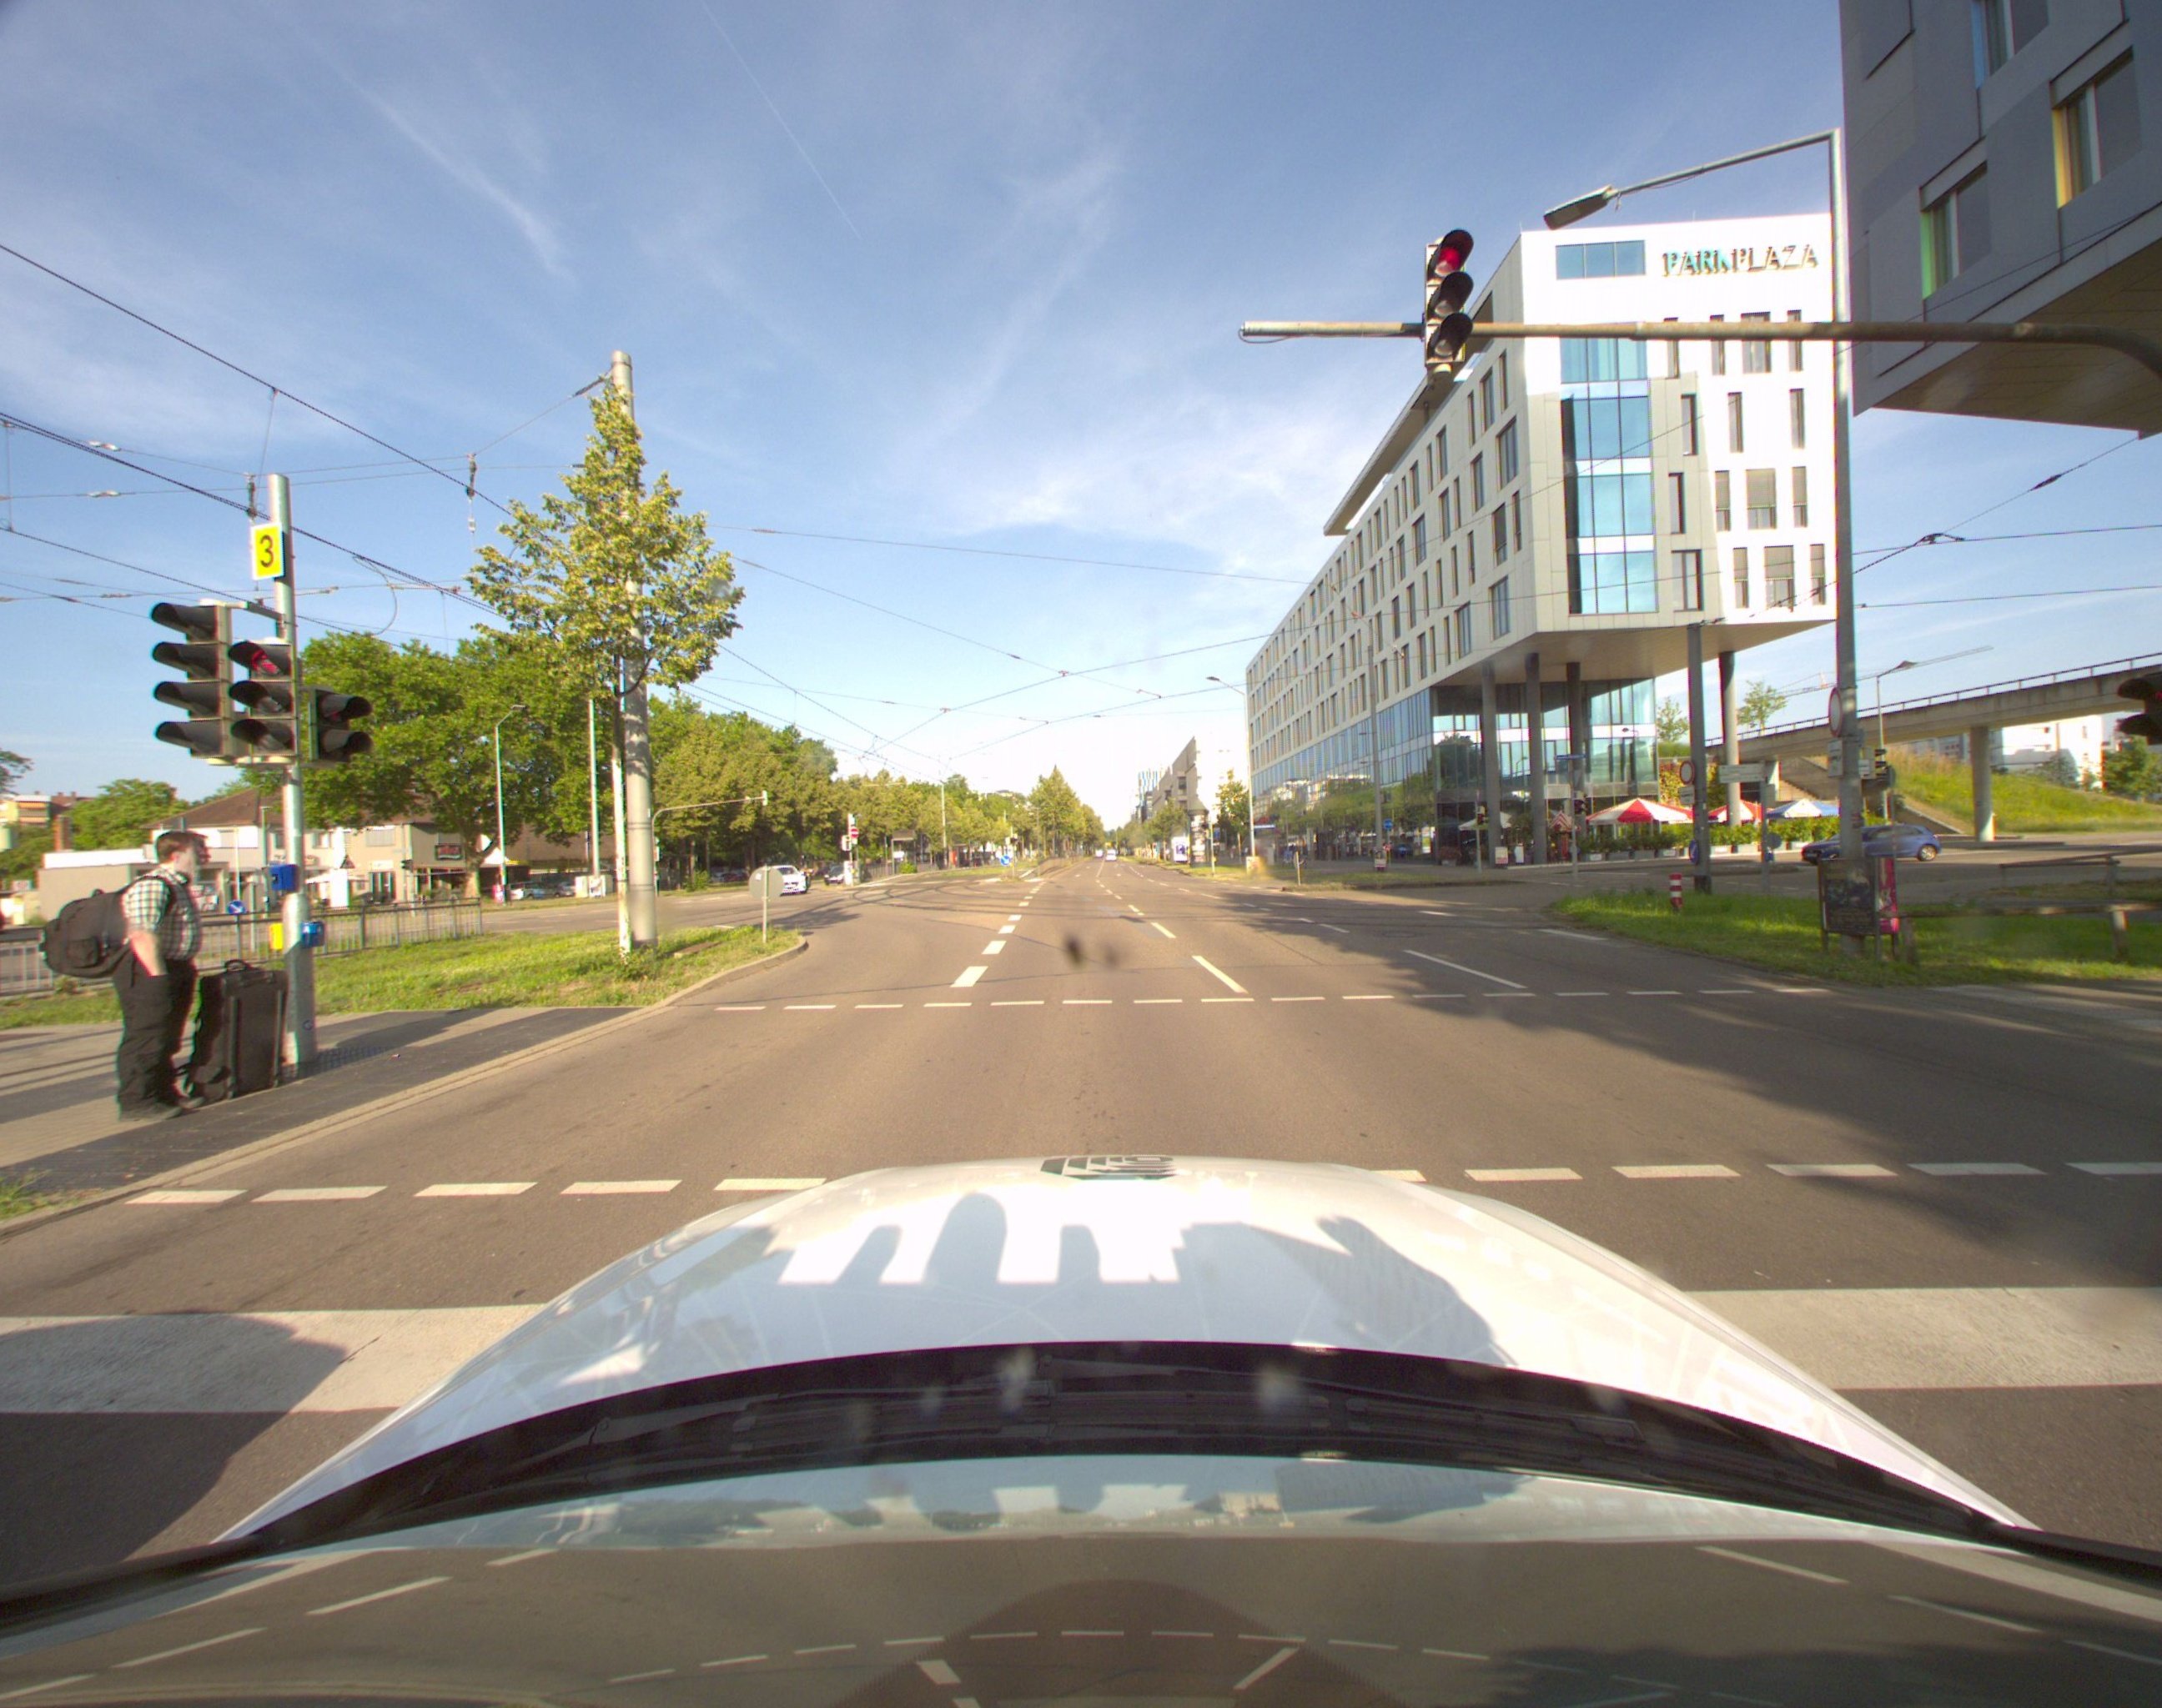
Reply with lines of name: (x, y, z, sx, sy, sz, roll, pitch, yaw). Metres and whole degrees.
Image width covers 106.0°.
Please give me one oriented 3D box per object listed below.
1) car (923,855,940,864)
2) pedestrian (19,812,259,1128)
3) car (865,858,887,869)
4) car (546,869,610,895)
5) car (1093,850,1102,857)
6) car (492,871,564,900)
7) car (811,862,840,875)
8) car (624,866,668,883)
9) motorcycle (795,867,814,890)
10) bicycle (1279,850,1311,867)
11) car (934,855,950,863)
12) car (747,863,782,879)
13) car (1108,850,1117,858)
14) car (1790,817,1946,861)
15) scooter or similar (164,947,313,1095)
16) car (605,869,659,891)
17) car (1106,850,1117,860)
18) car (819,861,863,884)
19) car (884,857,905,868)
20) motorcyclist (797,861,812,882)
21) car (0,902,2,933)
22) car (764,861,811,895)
car: (-27.553, 1.052, 150.403, 1.871, 1.559, 4.008, -3, 0, 7)
pedestrian: (-5.691, 0.659, 4.958, 0.697, 1.792, 0.636, -1, 0, 2)
car: (-30.677, 1.447, 122.111, 1.871, 1.559, 4.008, -3, 0, 7)
car: (-37.719, 2.097, 61.200, 1.871, 1.750, 4.008, -3, 0, 7)
car: (4.193, -0.142, 207.564, 2.007, 1.684, 4.003, 0, 1, 2)
car: (-38.237, 2.158, 56.449, 1.871, 1.750, 4.008, -3, 0, 7)
car: (-32.779, 1.842, 104.587, 1.871, 1.559, 4.008, -3, 0, 7)
car: (-43.790, 2.026, 82.159, 1.871, 1.559, 4.008, -3, 0, 7)
motorcycle: (-16.368, 1.457, 48.267, 0.820, 1.263, 2.536, -1, 0, -15)
bicycle: (13.862, 0.256, 52.804, 0.778, 1.032, 1.856, -2, 2, -42)
car: (-26.802, 0.969, 156.814, 1.871, 1.559, 4.008, -3, 0, 7)
car: (-34.755, 1.827, 89.598, 1.871, 1.559, 4.008, -3, 0, 7)
car: (6.652, -0.076, 172.473, 1.857, 1.684, 4.003, 0, 1, 2)
car: (30.225, -0.563, 31.374, 4.170, 1.424, 1.859, -3, 1, 1)
scooter or similar: (-5.670, 1.110, 5.501, 0.546, 0.907, 0.430, -1, 0, 2)
car: (-37.030, 2.114, 67.242, 1.871, 1.559, 4.008, -3, 0, 7)
car: (5.139, 0.145, 138.196, 1.857, 1.684, 4.003, 0, 1, 2)
car: (-17.279, 1.354, 58.803, 1.723, 1.462, 4.574, -2, -3, 1)
car: (-29.712, 1.342, 130.016, 1.871, 1.559, 4.008, -3, 0, 7)
motorcyclist: (-16.297, 1.044, 48.057, 0.784, 1.202, 0.843, -1, 0, -16)
car: (-63.537, 3.689, 45.641, 3.964, 1.728, 2.005, -2, 0, 8)
car: (-14.600, 1.171, 40.409, 2.002, 1.504, 4.063, -3, 0, -22)
